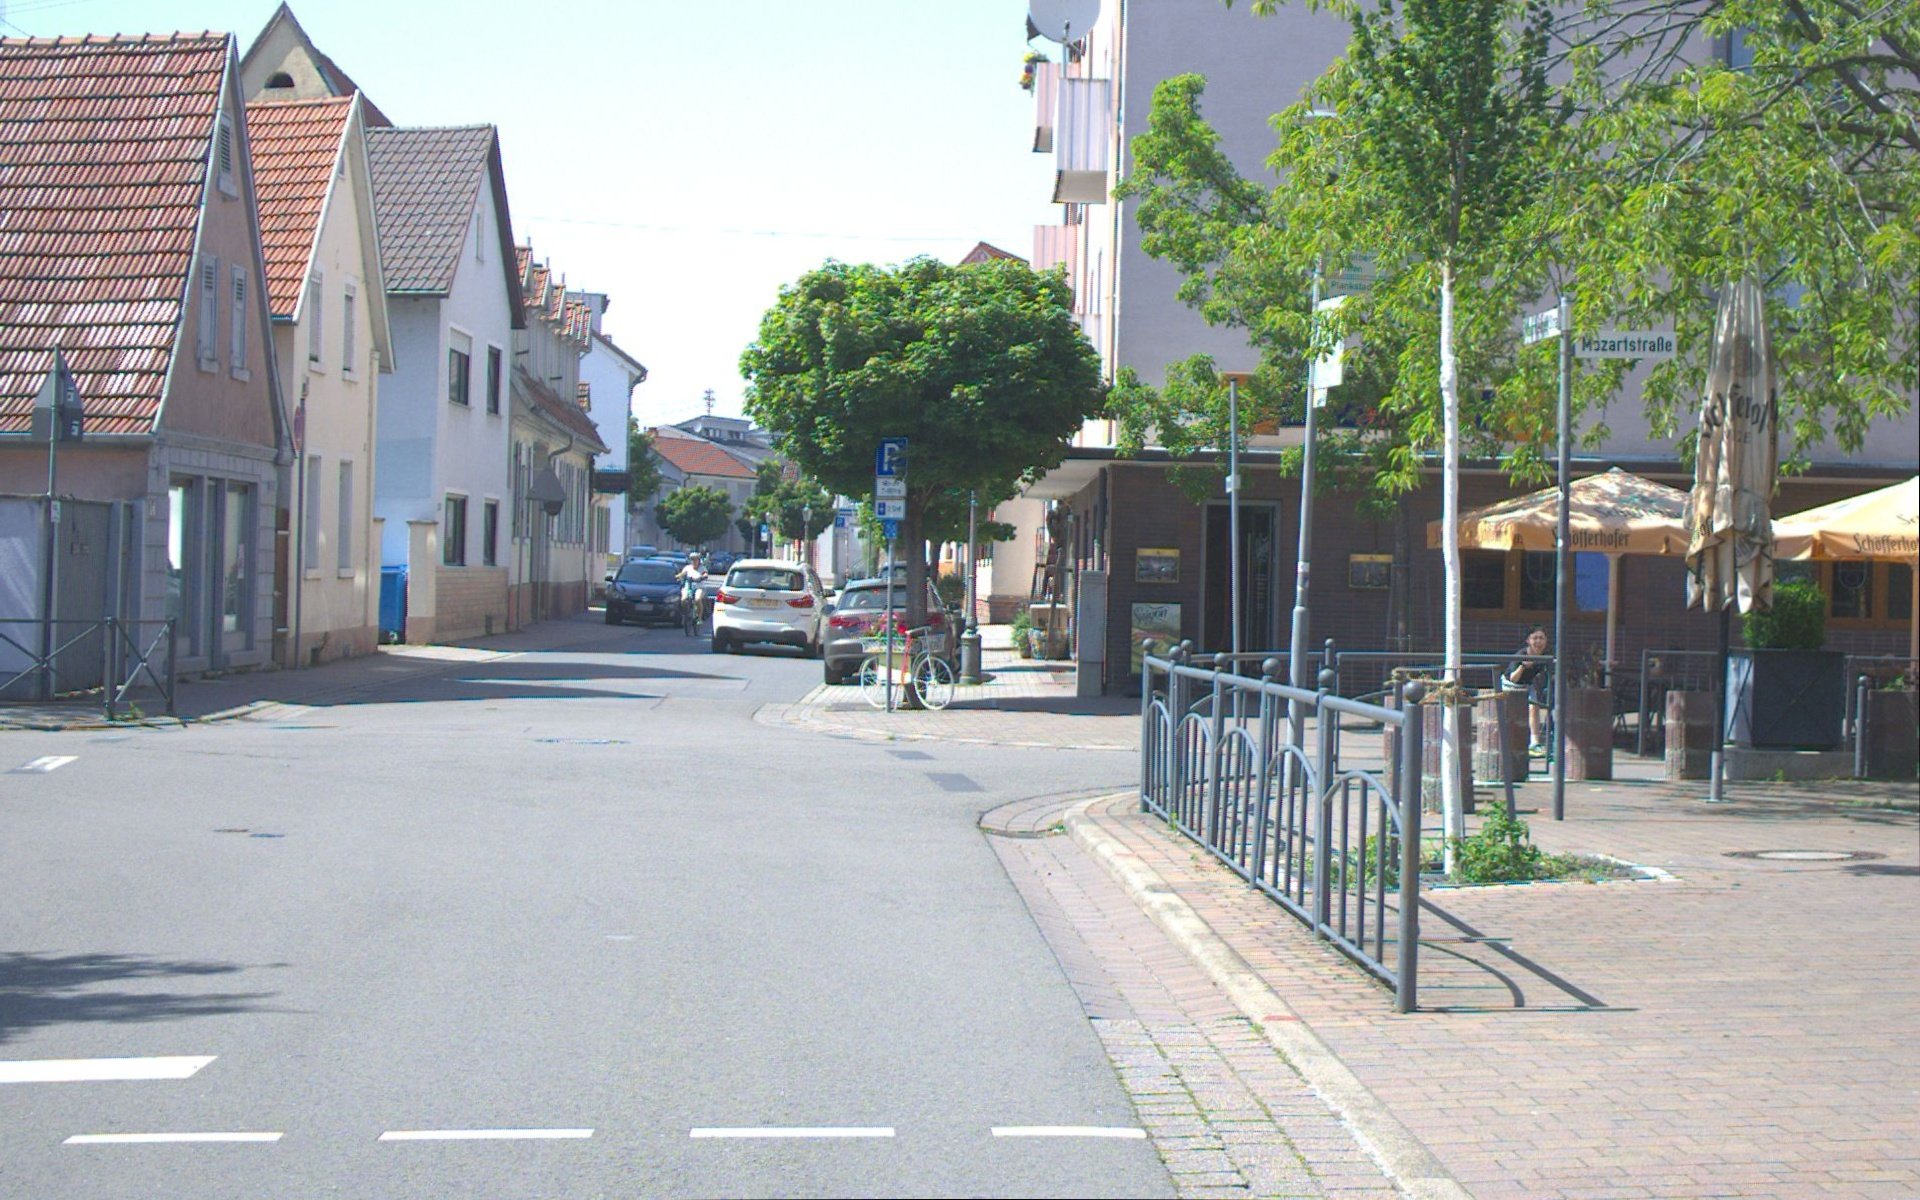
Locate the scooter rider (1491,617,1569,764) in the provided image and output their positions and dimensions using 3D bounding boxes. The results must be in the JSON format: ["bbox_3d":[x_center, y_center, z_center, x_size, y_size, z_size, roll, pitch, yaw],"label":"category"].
[{"bbox_3d":[5.039,0.796,30.392,0.516,1.281,0.418,1,0,-41],"label":"scooter rider"}]

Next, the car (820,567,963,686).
[{"bbox_3d":[-0.905,0.329,47.519,1.805,1.496,4.000,1,1,1],"label":"car"}]

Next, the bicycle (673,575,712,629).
[{"bbox_3d":[-5.506,0.037,70.737,0.674,1.090,1.896,0,1,-1],"label":"bicycle"}]

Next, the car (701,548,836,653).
[{"bbox_3d":[-3.246,-0.022,58.981,1.834,1.646,4.000,3,1,3],"label":"car"}]

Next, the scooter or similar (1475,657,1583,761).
[{"bbox_3d":[5.025,0.958,30.397,0.379,0.870,0.890,1,1,-41],"label":"scooter or similar"}]

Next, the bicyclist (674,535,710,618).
[{"bbox_3d":[-5.509,-0.484,70.728,0.669,1.685,0.761,0,0,-1],"label":"bicyclist"}]

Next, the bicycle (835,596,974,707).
[{"bbox_3d":[-0.635,0.572,38.747,0.525,1.189,1.674,1,1,-44],"label":"bicycle"}]

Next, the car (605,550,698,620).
[{"bbox_3d":[-7.001,-0.353,78.213,1.714,1.512,3.786,1,1,0],"label":"car"}]
